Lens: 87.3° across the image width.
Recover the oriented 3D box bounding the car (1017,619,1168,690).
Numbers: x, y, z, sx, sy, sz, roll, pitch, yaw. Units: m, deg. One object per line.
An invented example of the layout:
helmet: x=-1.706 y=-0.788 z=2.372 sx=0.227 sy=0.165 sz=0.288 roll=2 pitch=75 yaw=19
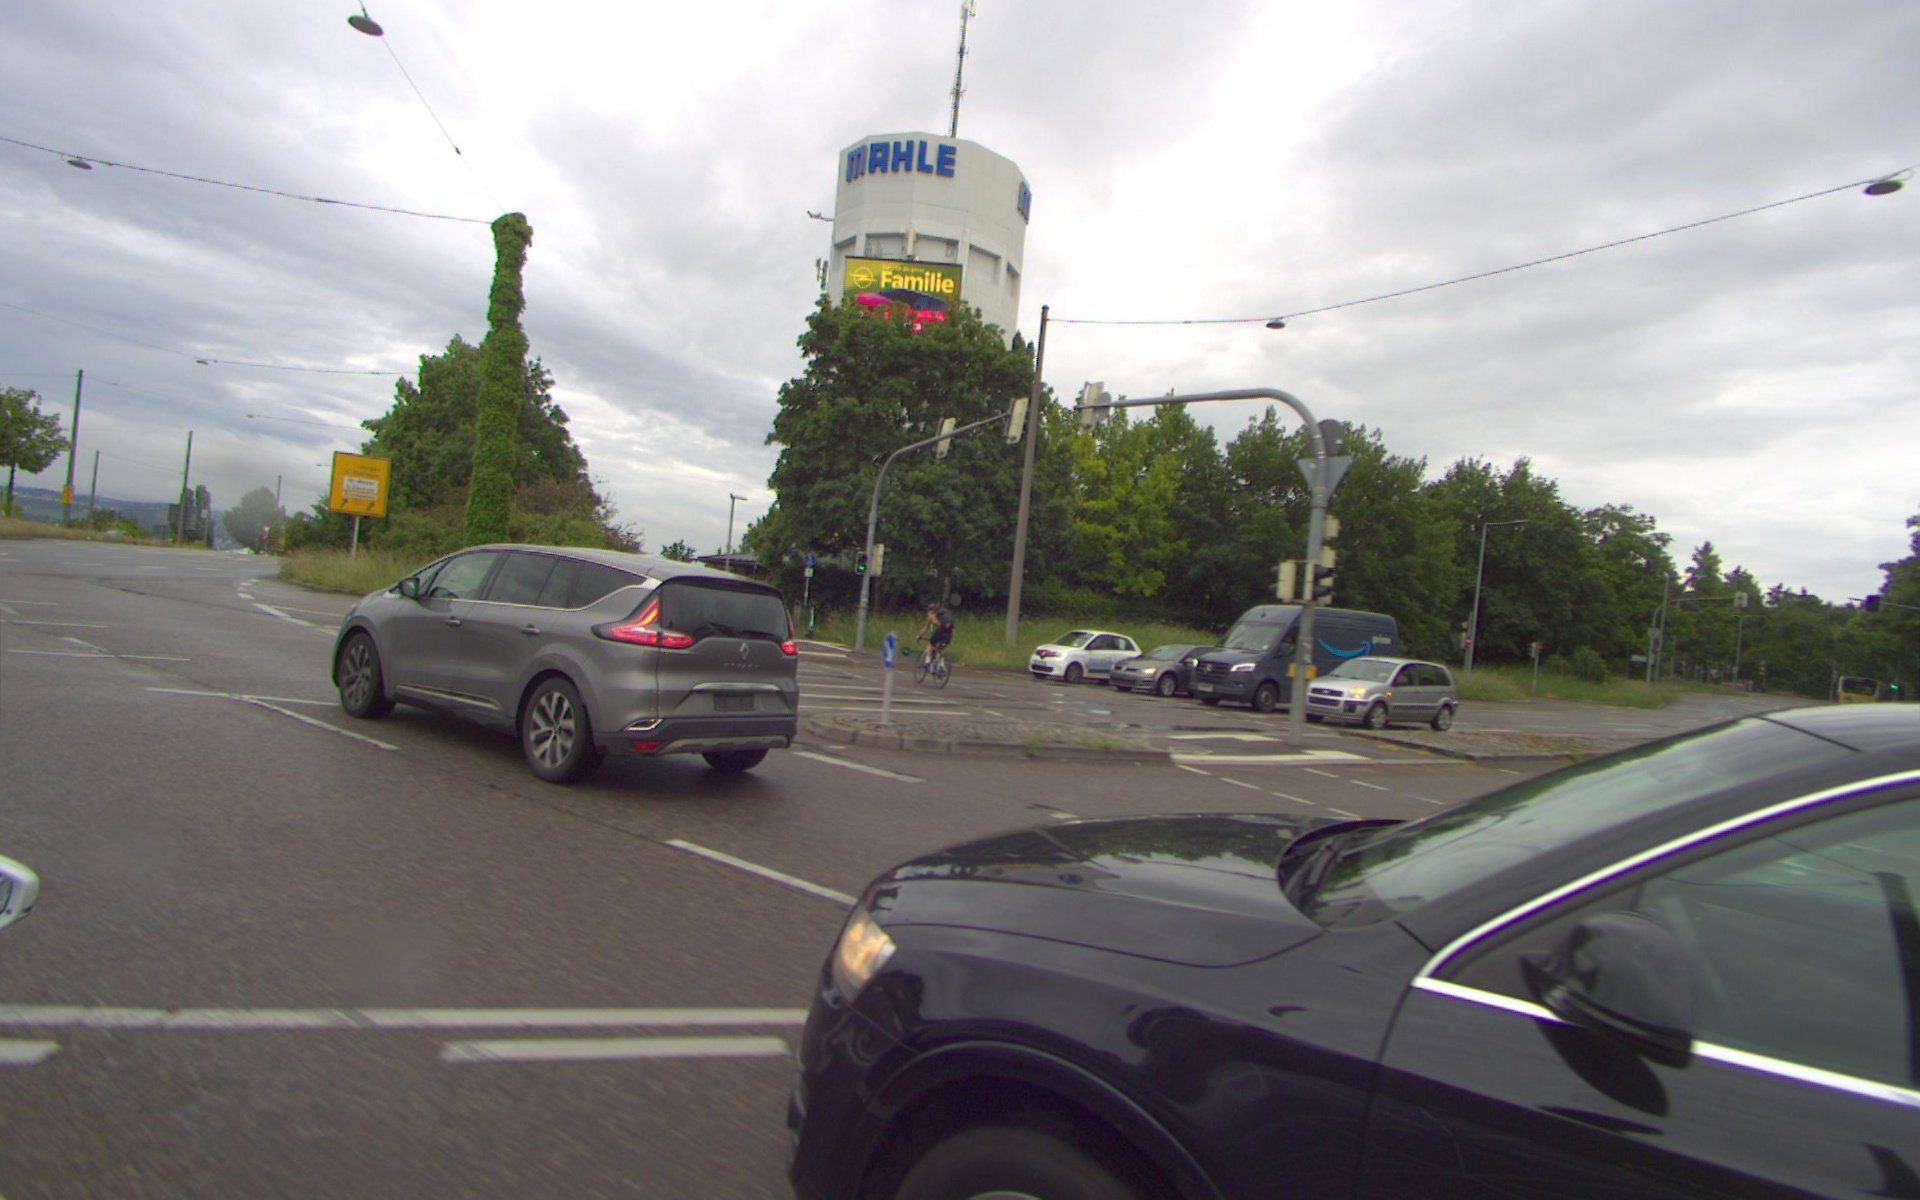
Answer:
car: x=3.915 y=1.607 z=29.468 sx=4.108 sy=1.582 sz=1.853 roll=8 pitch=-1 yaw=-36

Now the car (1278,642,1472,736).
car: x=8.987 y=1.931 z=21.691 sx=4.023 sy=1.586 sz=1.856 roll=8 pitch=-3 yaw=-33

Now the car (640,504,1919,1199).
car: x=1.618 y=0.889 z=1.712 sx=4.046 sy=1.615 sz=1.887 roll=7 pitch=-1 yaw=32

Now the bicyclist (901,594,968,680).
bicyclist: x=-0.532 y=0.748 z=20.536 sx=0.802 sy=1.602 sz=1.015 roll=8 pitch=-1 yaw=-29

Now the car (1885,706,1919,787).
car: x=21.509 y=3.213 z=21.629 sx=1.843 sy=1.517 sz=4.134 roll=5 pitch=0 yaw=37

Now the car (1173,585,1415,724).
car: x=8.317 y=1.379 z=24.801 sx=5.965 sy=2.773 sz=2.066 roll=7 pitch=-2 yaw=-31

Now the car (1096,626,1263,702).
car: x=5.932 y=1.744 z=26.999 sx=4.339 sy=1.538 sz=1.715 roll=8 pitch=-1 yaw=-33

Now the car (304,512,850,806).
car: x=-3.315 y=0.341 z=8.382 sx=4.492 sy=1.694 sz=1.867 roll=6 pitch=-1 yaw=34

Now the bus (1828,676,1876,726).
bus: x=72.965 y=8.251 z=82.376 sx=2.304 sy=3.607 sz=6.469 roll=7 pitch=0 yaw=39

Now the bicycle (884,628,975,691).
bicycle: x=-0.662 y=1.193 z=20.597 sx=0.802 sy=1.035 sz=2.311 roll=5 pitch=0 yaw=-29
